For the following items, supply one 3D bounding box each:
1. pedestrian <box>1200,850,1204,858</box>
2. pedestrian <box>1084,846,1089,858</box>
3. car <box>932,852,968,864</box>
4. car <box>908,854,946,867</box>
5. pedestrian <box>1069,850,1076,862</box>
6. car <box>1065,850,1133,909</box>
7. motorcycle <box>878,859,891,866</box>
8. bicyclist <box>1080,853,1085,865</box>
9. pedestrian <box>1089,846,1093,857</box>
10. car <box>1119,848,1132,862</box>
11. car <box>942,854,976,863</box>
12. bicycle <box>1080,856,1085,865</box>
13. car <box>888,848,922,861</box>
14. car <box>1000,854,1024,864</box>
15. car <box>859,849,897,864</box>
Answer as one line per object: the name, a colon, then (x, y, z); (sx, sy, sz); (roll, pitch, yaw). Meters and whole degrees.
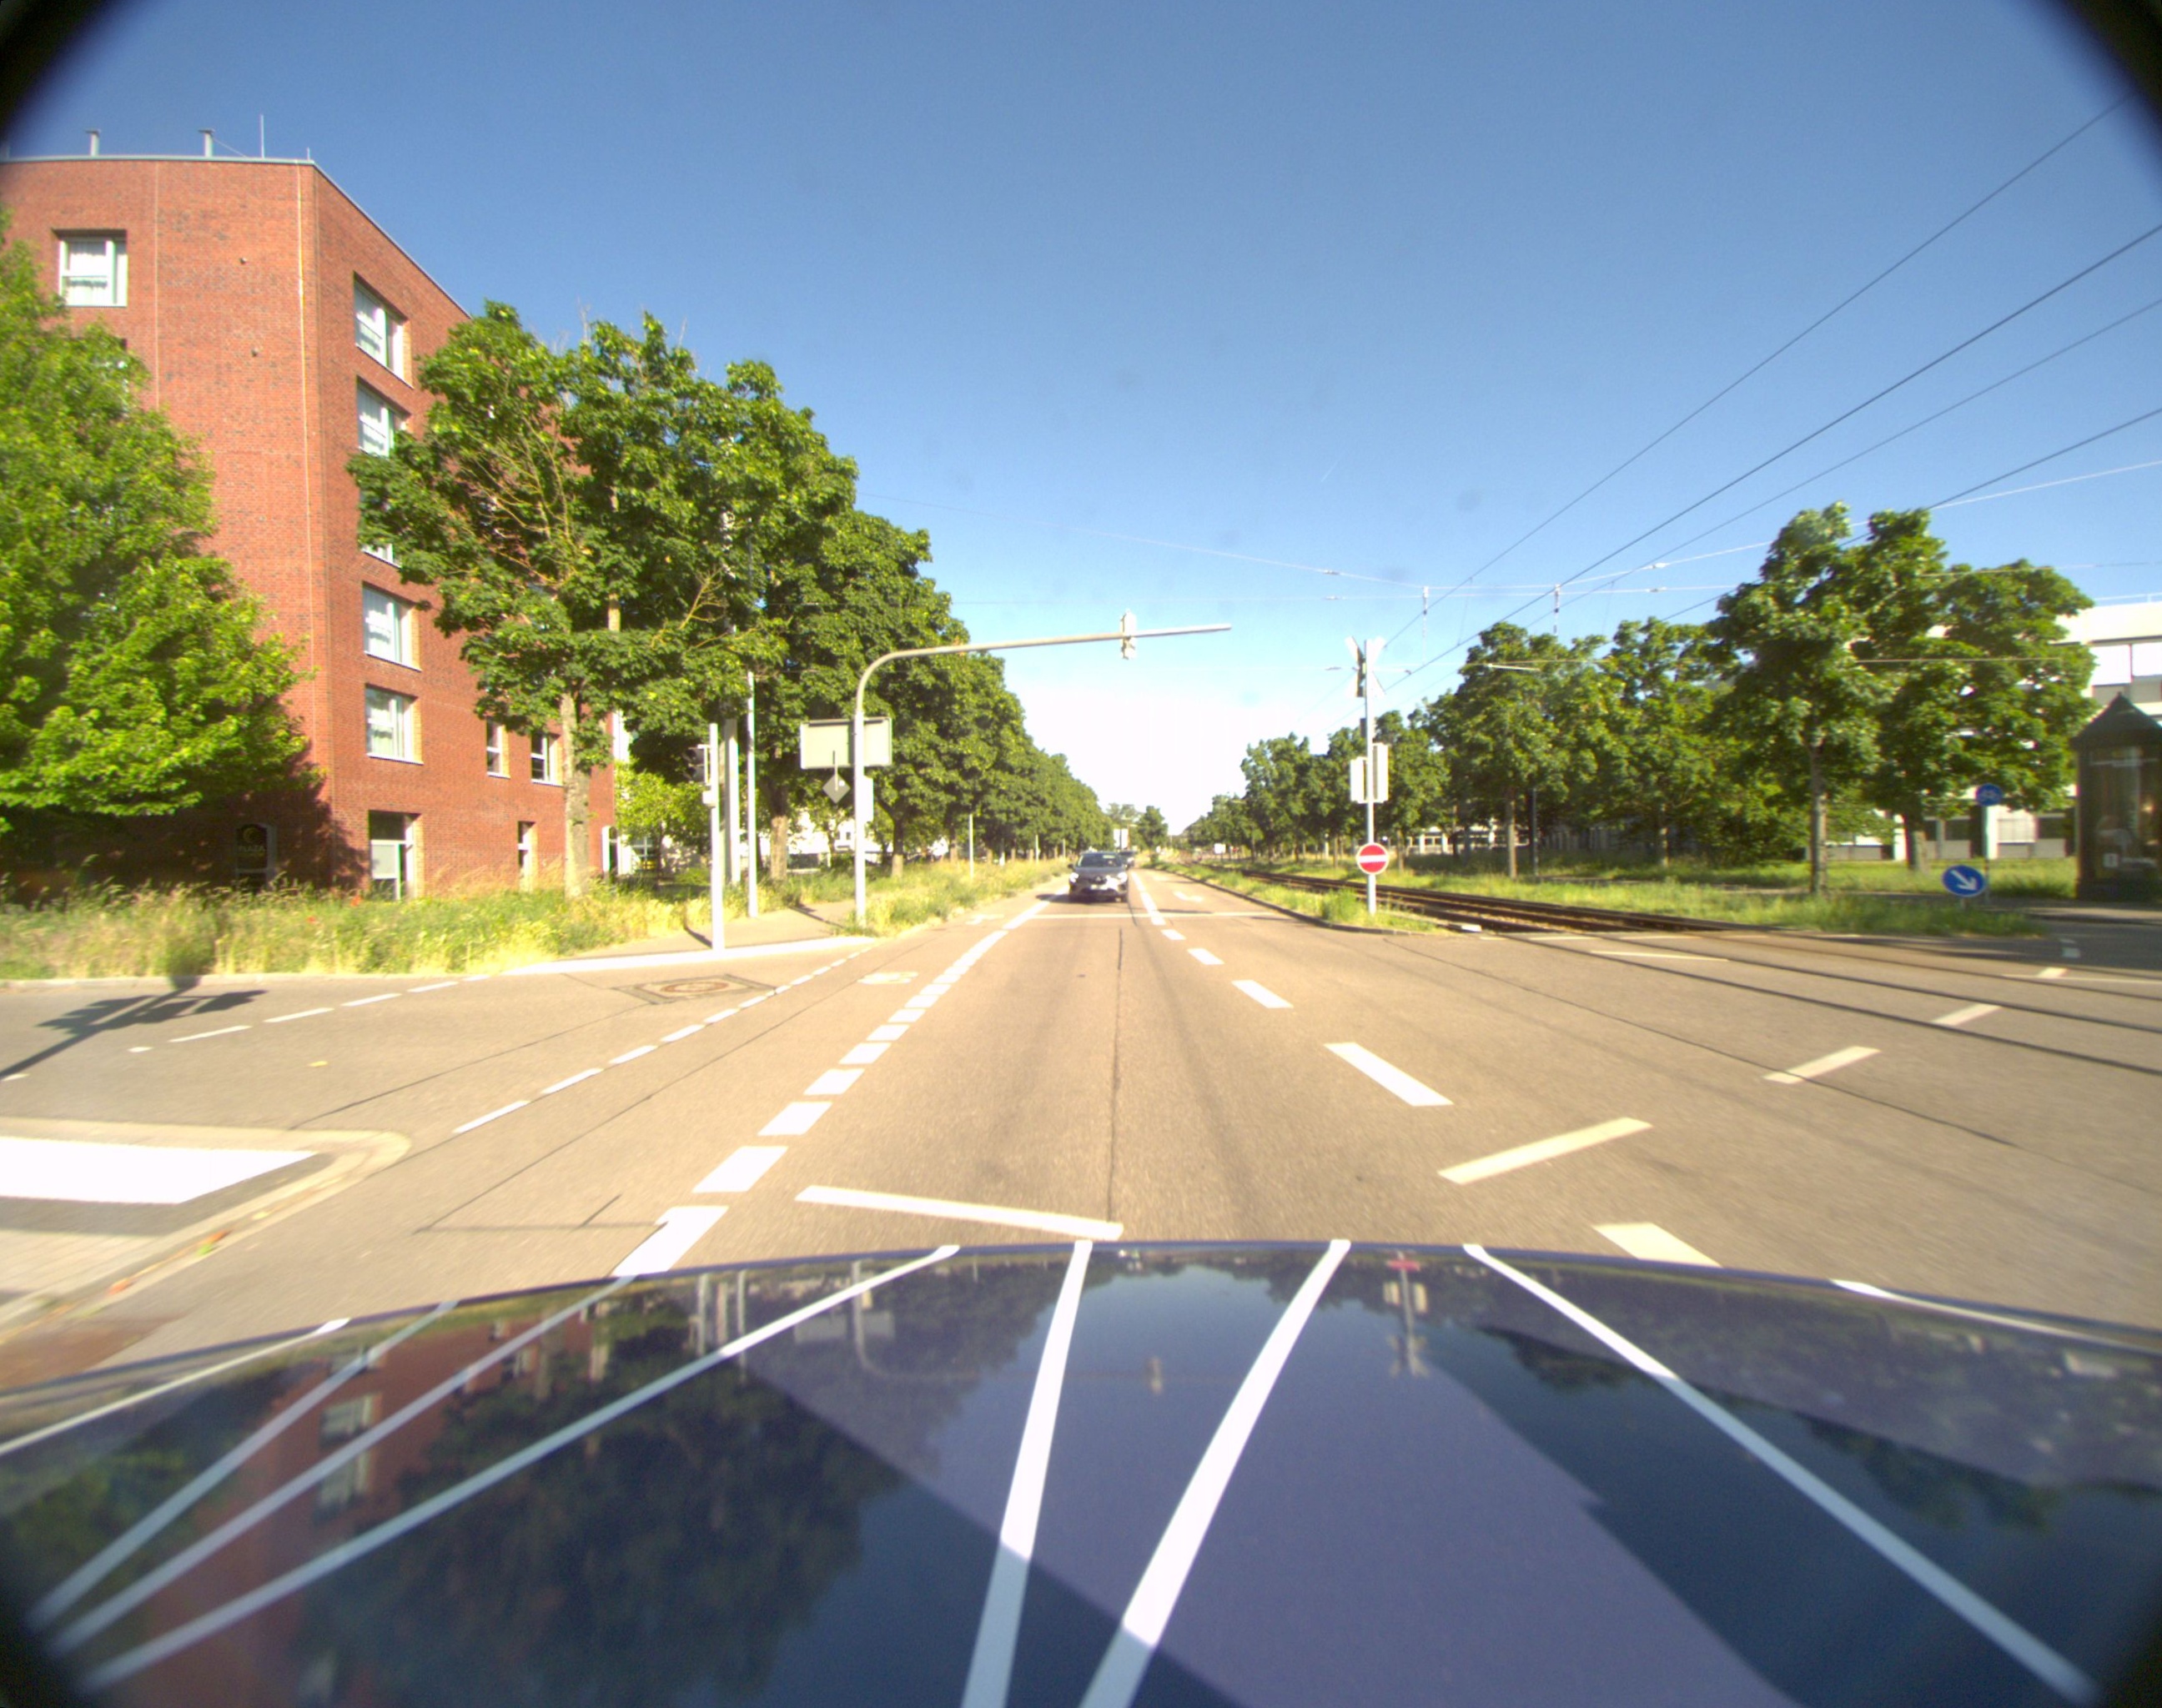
pedestrian: (29.041, 0.036, 182.531); (0.785, 1.741, 0.782); (-1, 1, 6)
pedestrian: (0.873, -0.374, 128.337); (0.710, 1.919, 0.816); (-1, 1, -3)
car: (-16.667, 0.561, 96.656); (4.173, 1.423, 1.826); (-1, 0, 9)
car: (-17.841, 0.732, 88.053); (4.038, 1.496, 1.739); (-1, 0, 6)
pedestrian: (-1.180, 0.318, 100.976); (0.826, 1.560, 0.762); (-1, 1, 7)
car: (0.653, 0.721, 23.424); (1.749, 1.585, 4.248); (-1, 1, 6)
motorcycle: (-27.668, 1.130, 106.894); (1.652, 0.965, 0.538); (-1, 0, 5)
bicyclist: (0.205, 0.659, 106.733); (0.684, 1.710, 0.903); (-1, 1, 5)
pedestrian: (1.674, -0.470, 128.238); (0.710, 1.906, 0.816); (-1, 1, -2)
car: (5.778, 0.064, 98.009); (1.554, 1.764, 3.458); (0, 0, 6)
car: (-17.410, 0.679, 108.476); (4.300, 1.316, 1.942); (0, -1, 10)
bicycle: (0.211, 0.961, 106.671); (0.484, 1.197, 2.144); (-2, 1, 6)
car: (-26.953, 0.146, 116.354); (4.759, 1.938, 1.975); (0, 0, 5)
car: (-12.453, 0.876, 137.253); (4.347, 1.690, 1.765); (0, 0, -4)
car: (-27.962, 0.306, 104.844); (4.594, 2.002, 1.959); (-1, 0, 7)
